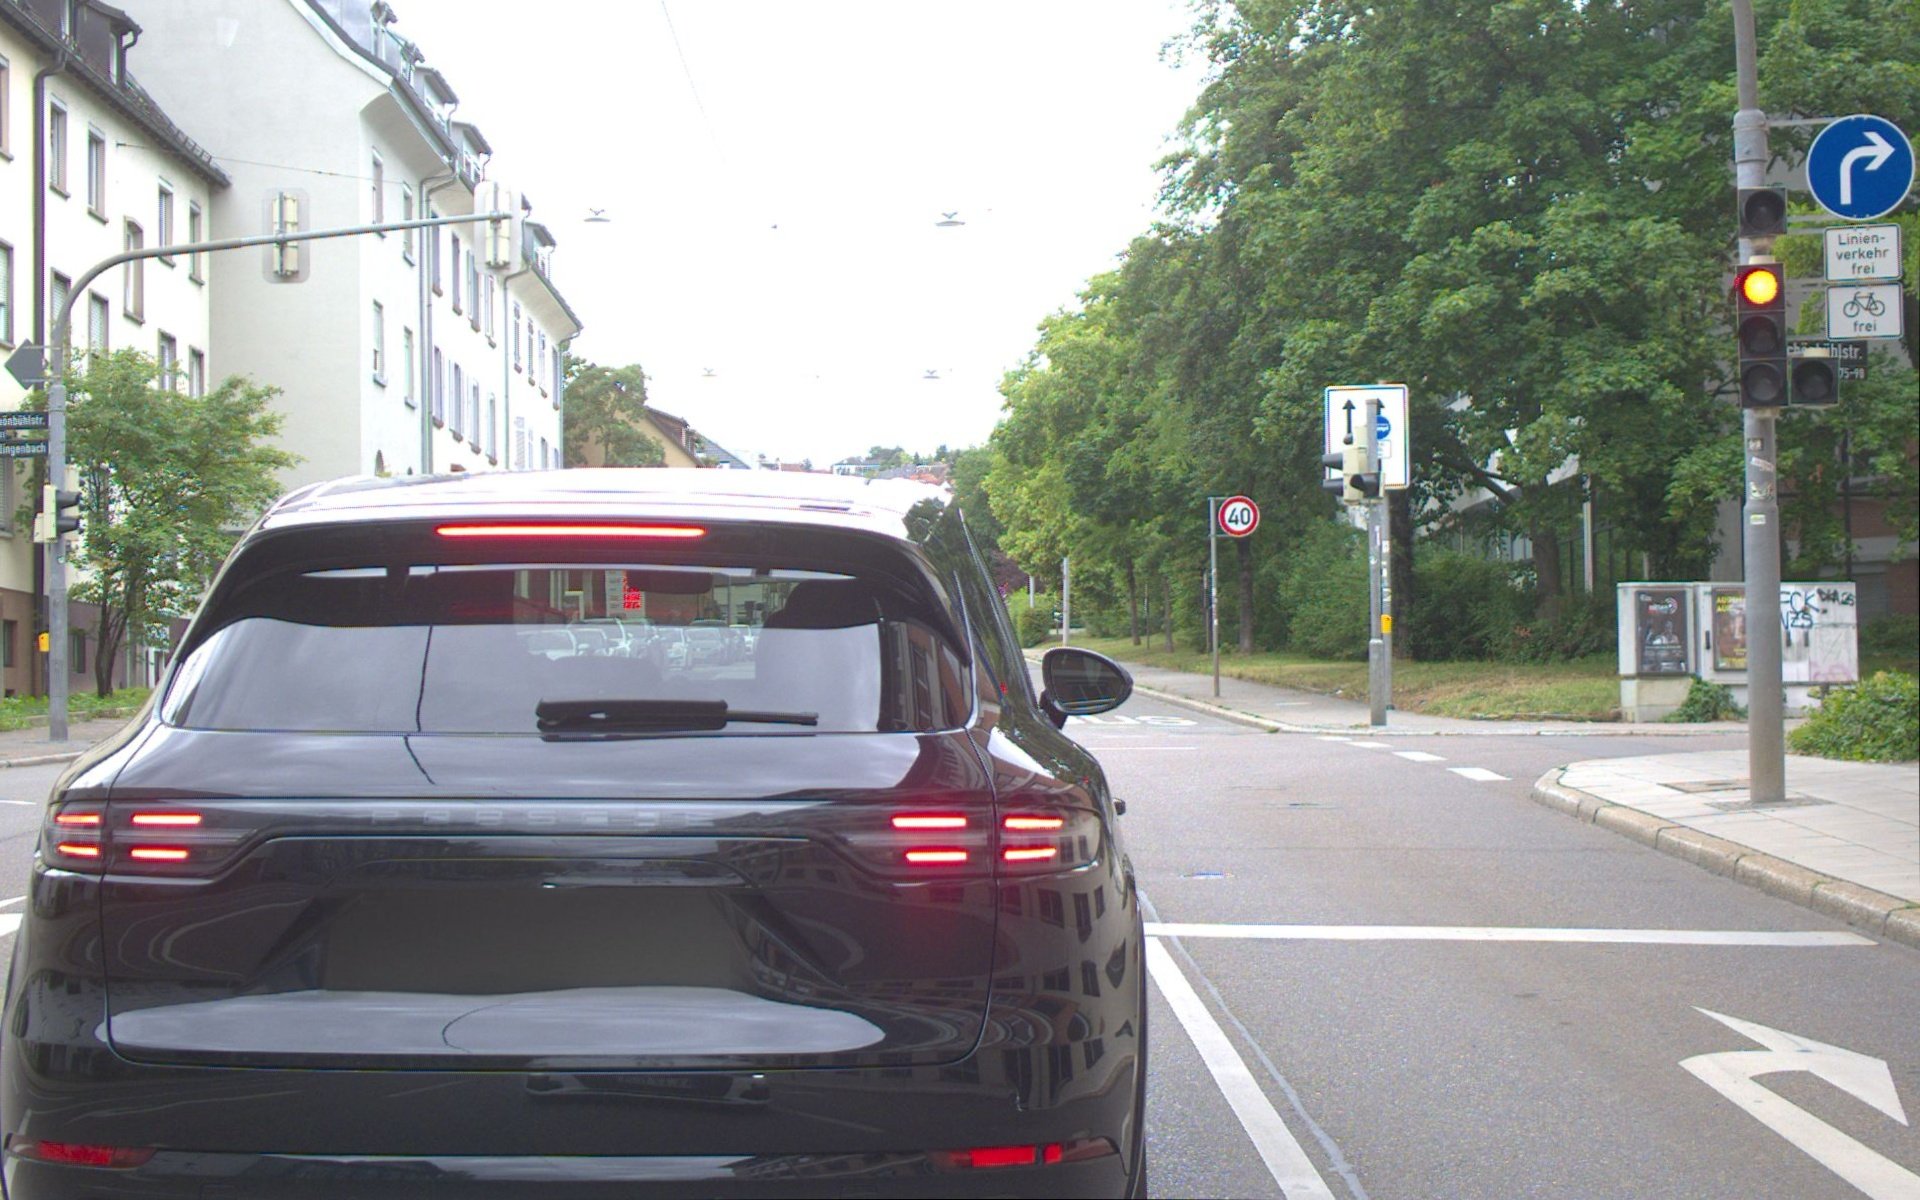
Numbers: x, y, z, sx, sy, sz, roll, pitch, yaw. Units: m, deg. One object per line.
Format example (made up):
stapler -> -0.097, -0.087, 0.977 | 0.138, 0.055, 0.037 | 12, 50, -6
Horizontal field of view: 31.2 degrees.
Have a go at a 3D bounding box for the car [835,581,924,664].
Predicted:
car -> -1.619, 0.422, 68.051 | 1.688, 1.547, 3.889 | 1, 1, -2

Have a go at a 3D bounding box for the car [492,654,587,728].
car -> -8.471, 1.819, 69.486 | 1.669, 1.357, 4.001 | 0, 1, -3

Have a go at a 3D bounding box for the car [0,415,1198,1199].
car -> -0.675, 0.560, 7.147 | 1.993, 1.691, 4.000 | 1, 1, -1

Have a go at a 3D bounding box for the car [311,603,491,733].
car -> -7.357, 0.866, 45.535 | 1.664, 1.514, 3.740 | -4, 0, 0
